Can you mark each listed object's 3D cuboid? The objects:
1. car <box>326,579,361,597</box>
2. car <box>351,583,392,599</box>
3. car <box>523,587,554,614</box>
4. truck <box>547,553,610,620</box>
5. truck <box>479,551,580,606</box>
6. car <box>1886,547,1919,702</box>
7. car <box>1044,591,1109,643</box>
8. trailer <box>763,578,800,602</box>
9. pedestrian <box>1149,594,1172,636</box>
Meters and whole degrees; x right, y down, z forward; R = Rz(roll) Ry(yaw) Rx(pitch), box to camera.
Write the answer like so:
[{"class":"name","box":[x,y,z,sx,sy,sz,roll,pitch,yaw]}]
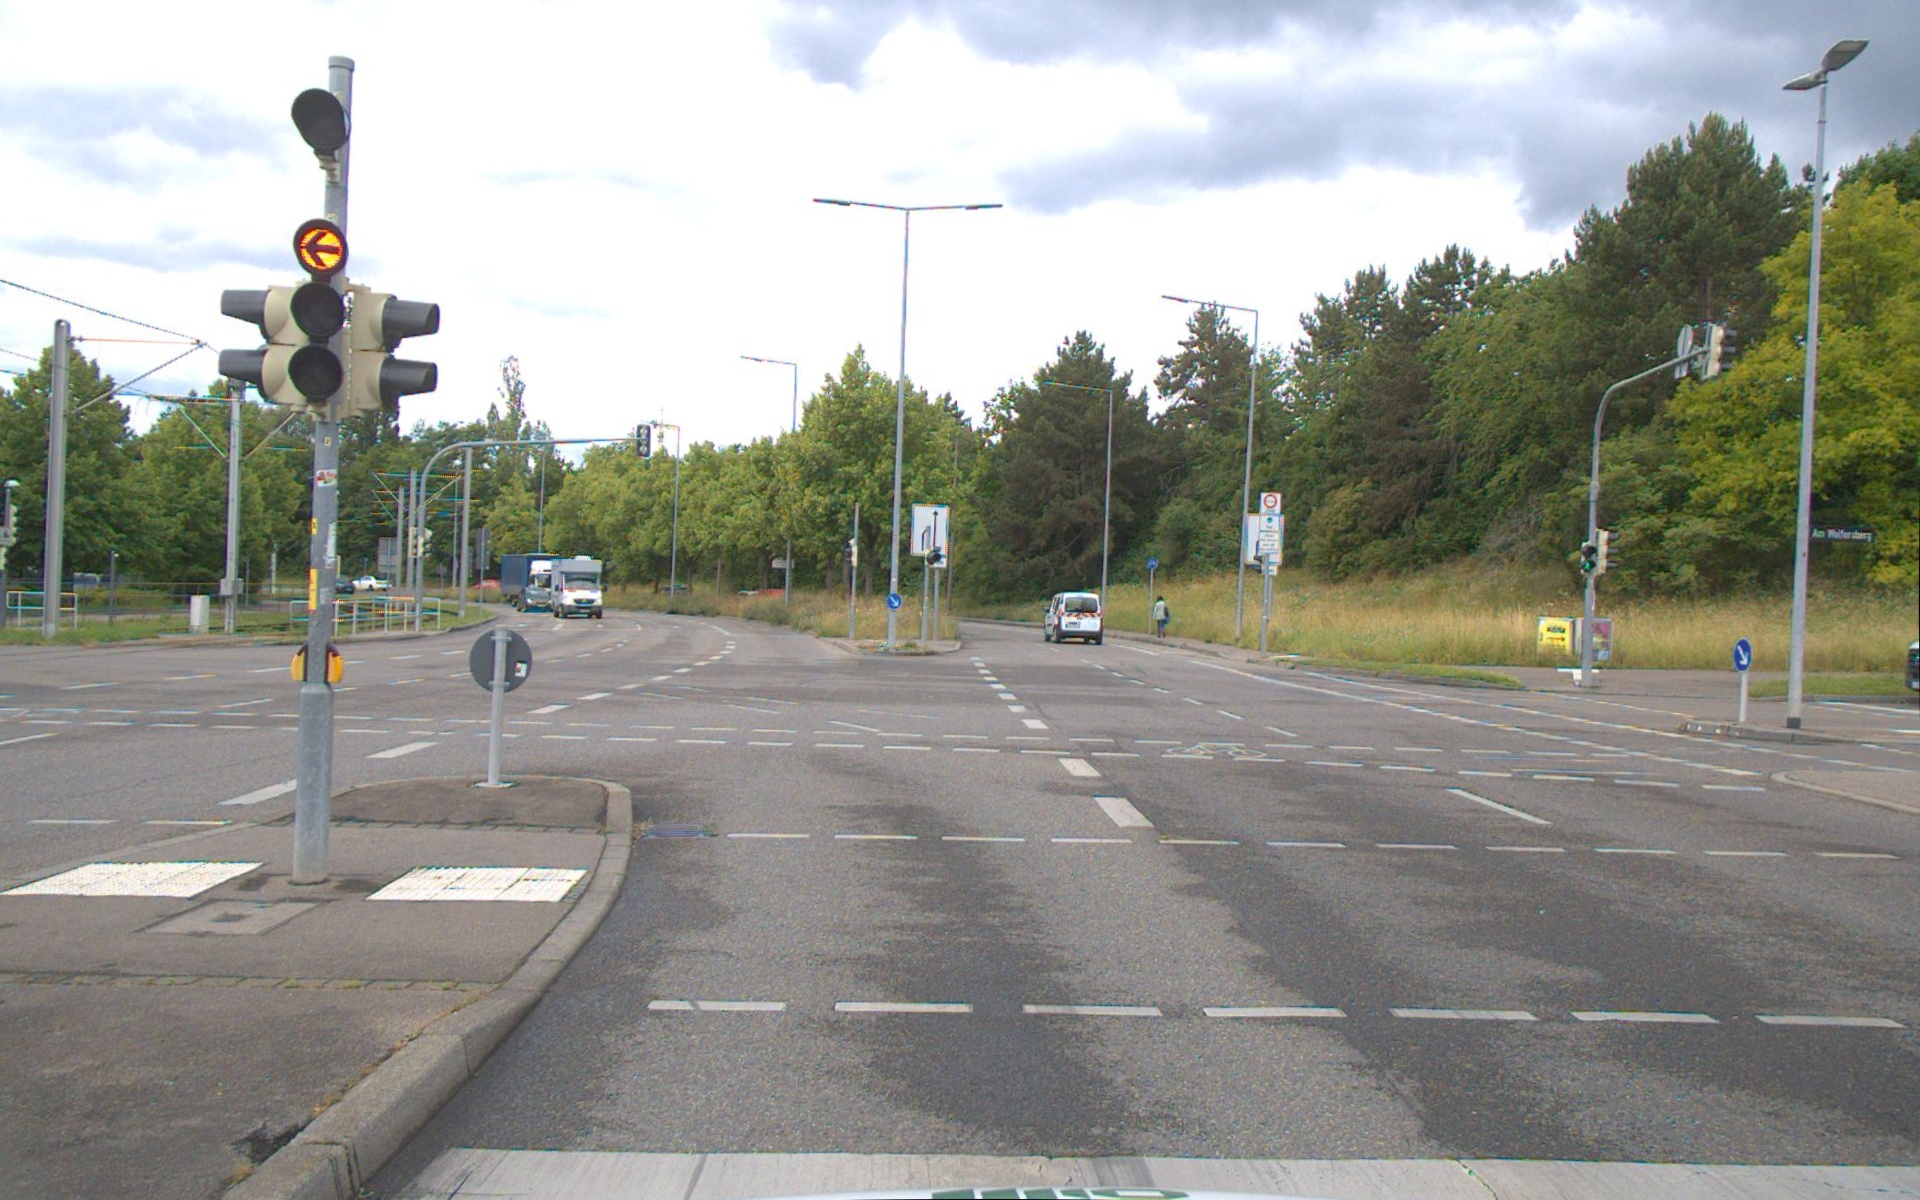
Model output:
[{"class":"car","box":[-57.473,-1.112,154.139,1.769,1.471,4.466,-1,3,-38]},{"class":"car","box":[-59.135,-0.909,166.146,3.938,1.573,1.780,1,0,31]},{"class":"car","box":[-26.038,0.015,102.171,1.751,1.471,4.510,0,2,-15]},{"class":"truck","box":[-19.328,-0.658,83.537,2.087,3.190,5.858,1,0,-23]},{"class":"truck","box":[-31.823,-1.526,121.868,3.023,3.826,12.657,1,0,-35]},{"class":"car","box":[20.337,0.469,30.099,5.772,2.830,2.135,0,0,-1]},{"class":"car","box":[4.222,0.624,60.782,1.954,1.833,4.837,0,0,-1]},{"class":"trailer","box":[-12.909,-0.727,119.328,1.743,1.644,3.019,1,0,-26]},{"class":"pedestrian","box":[7.925,0.581,65.371,0.797,1.656,0.790,1,0,-1]}]
